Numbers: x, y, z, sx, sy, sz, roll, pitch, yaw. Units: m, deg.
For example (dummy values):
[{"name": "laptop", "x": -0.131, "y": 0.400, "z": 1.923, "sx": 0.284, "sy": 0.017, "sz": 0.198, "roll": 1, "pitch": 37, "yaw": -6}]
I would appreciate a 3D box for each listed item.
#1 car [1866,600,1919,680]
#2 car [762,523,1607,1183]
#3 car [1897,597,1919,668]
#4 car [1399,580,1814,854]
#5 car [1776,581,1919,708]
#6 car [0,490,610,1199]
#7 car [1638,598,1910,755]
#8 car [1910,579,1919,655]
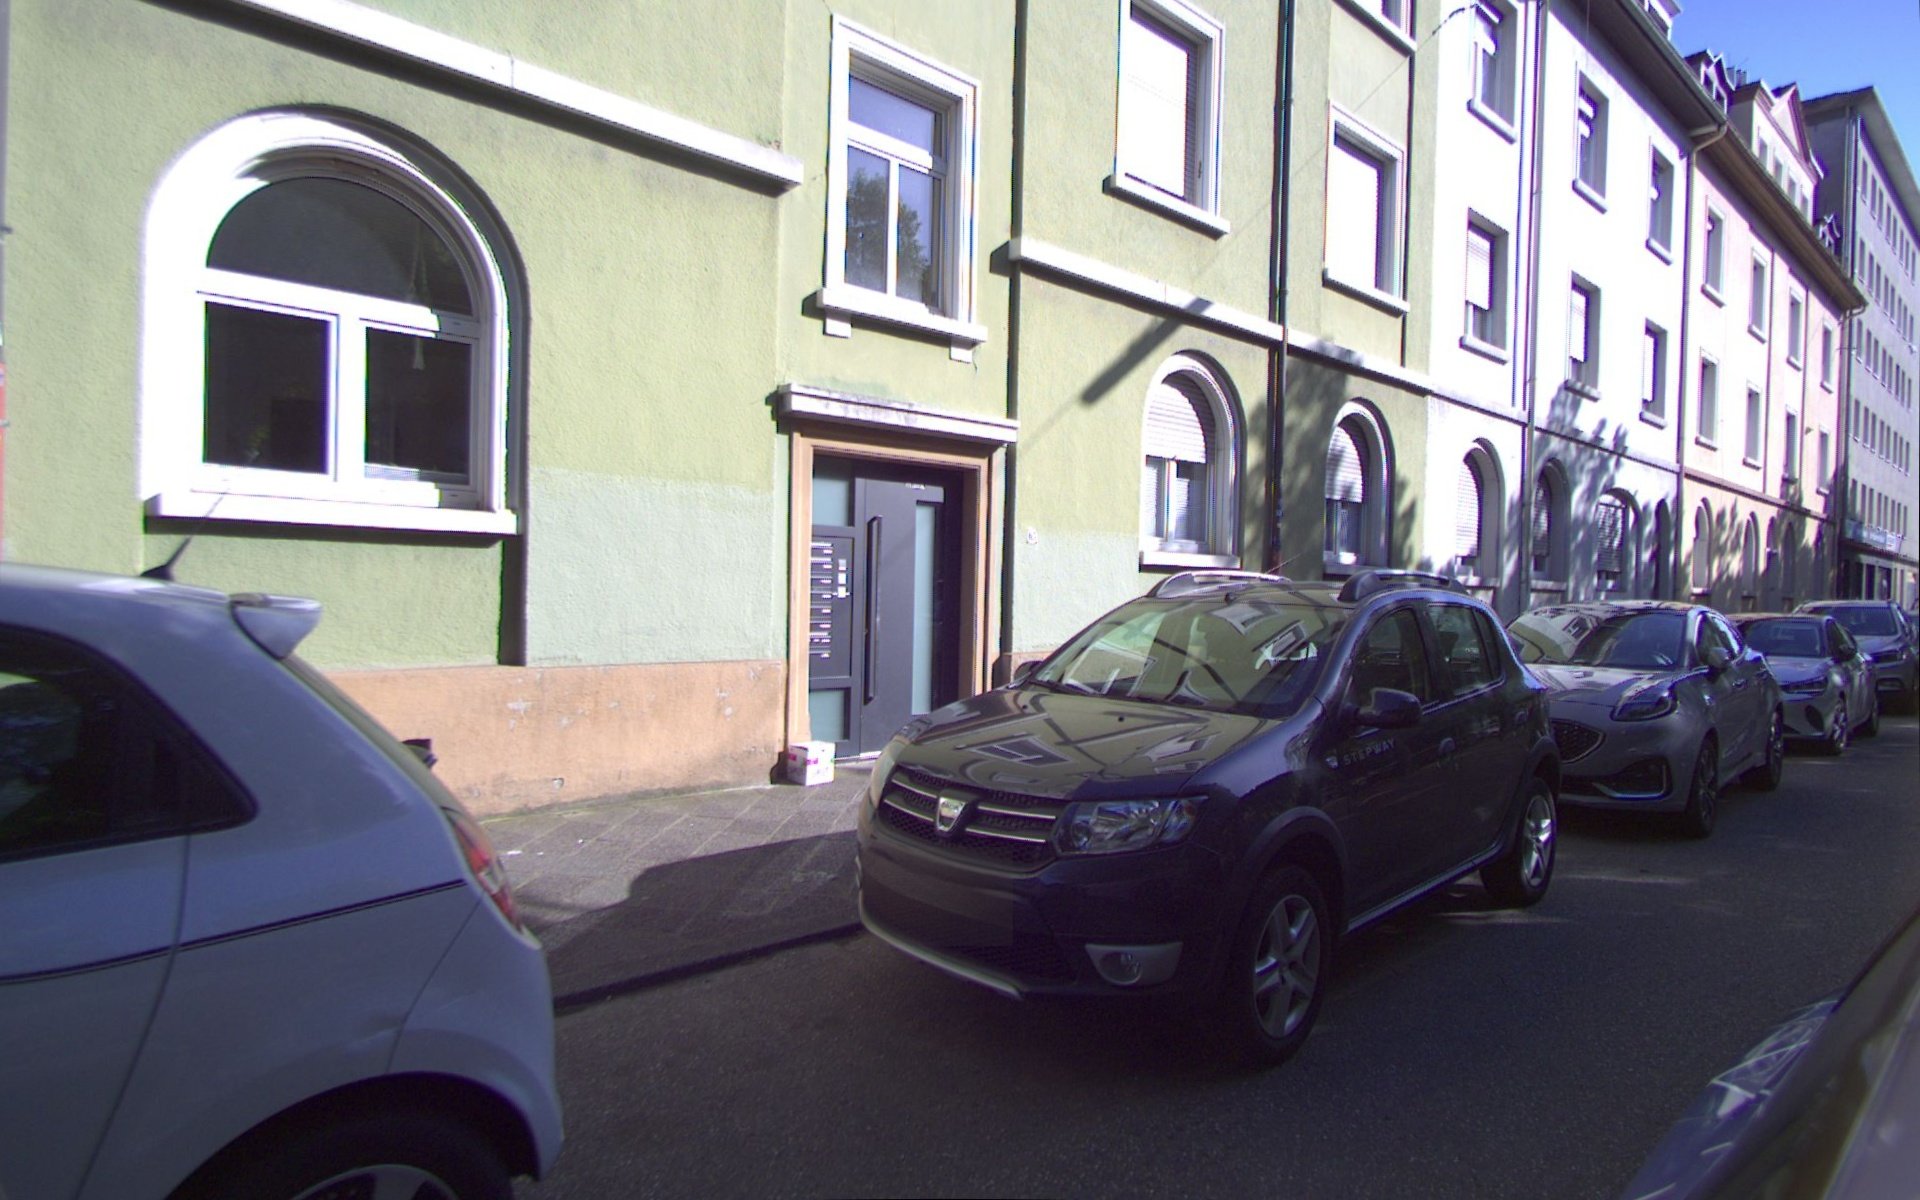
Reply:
[{"name": "car", "x": 18.672, "y": 0.736, "z": 19.504, "sx": 3.798, "sy": 1.411, "sz": 1.550, "roll": 0, "pitch": 1, "yaw": -45}, {"name": "car", "x": 1.338, "y": 0.602, "z": 4.532, "sx": 4.089, "sy": 1.617, "sz": 1.724, "roll": 0, "pitch": 1, "yaw": -44}, {"name": "car", "x": 22.382, "y": 0.725, "z": 22.774, "sx": 3.534, "sy": 1.517, "sz": 1.623, "roll": 0, "pitch": 1, "yaw": -43}, {"name": "car", "x": 5.141, "y": 0.658, "z": 7.803, "sx": 4.088, "sy": 1.547, "sz": 1.724, "roll": 0, "pitch": 1, "yaw": -43}, {"name": "car", "x": 14.136, "y": 0.602, "z": 15.726, "sx": 4.088, "sy": 1.707, "sz": 1.724, "roll": 0, "pitch": 1, "yaw": -43}, {"name": "car", "x": -2.504, "y": 0.610, "z": 1.299, "sx": 3.531, "sy": 1.554, "sz": 1.633, "roll": 0, "pitch": 1, "yaw": -42}, {"name": "car", "x": 9.406, "y": 0.728, "z": 11.581, "sx": 4.085, "sy": 1.450, "sz": 1.725, "roll": 0, "pitch": 1, "yaw": -41}, {"name": "car", "x": 26.609, "y": 0.459, "z": 26.539, "sx": 4.760, "sy": 1.924, "sz": 1.952, "roll": 0, "pitch": 1, "yaw": -41}]
